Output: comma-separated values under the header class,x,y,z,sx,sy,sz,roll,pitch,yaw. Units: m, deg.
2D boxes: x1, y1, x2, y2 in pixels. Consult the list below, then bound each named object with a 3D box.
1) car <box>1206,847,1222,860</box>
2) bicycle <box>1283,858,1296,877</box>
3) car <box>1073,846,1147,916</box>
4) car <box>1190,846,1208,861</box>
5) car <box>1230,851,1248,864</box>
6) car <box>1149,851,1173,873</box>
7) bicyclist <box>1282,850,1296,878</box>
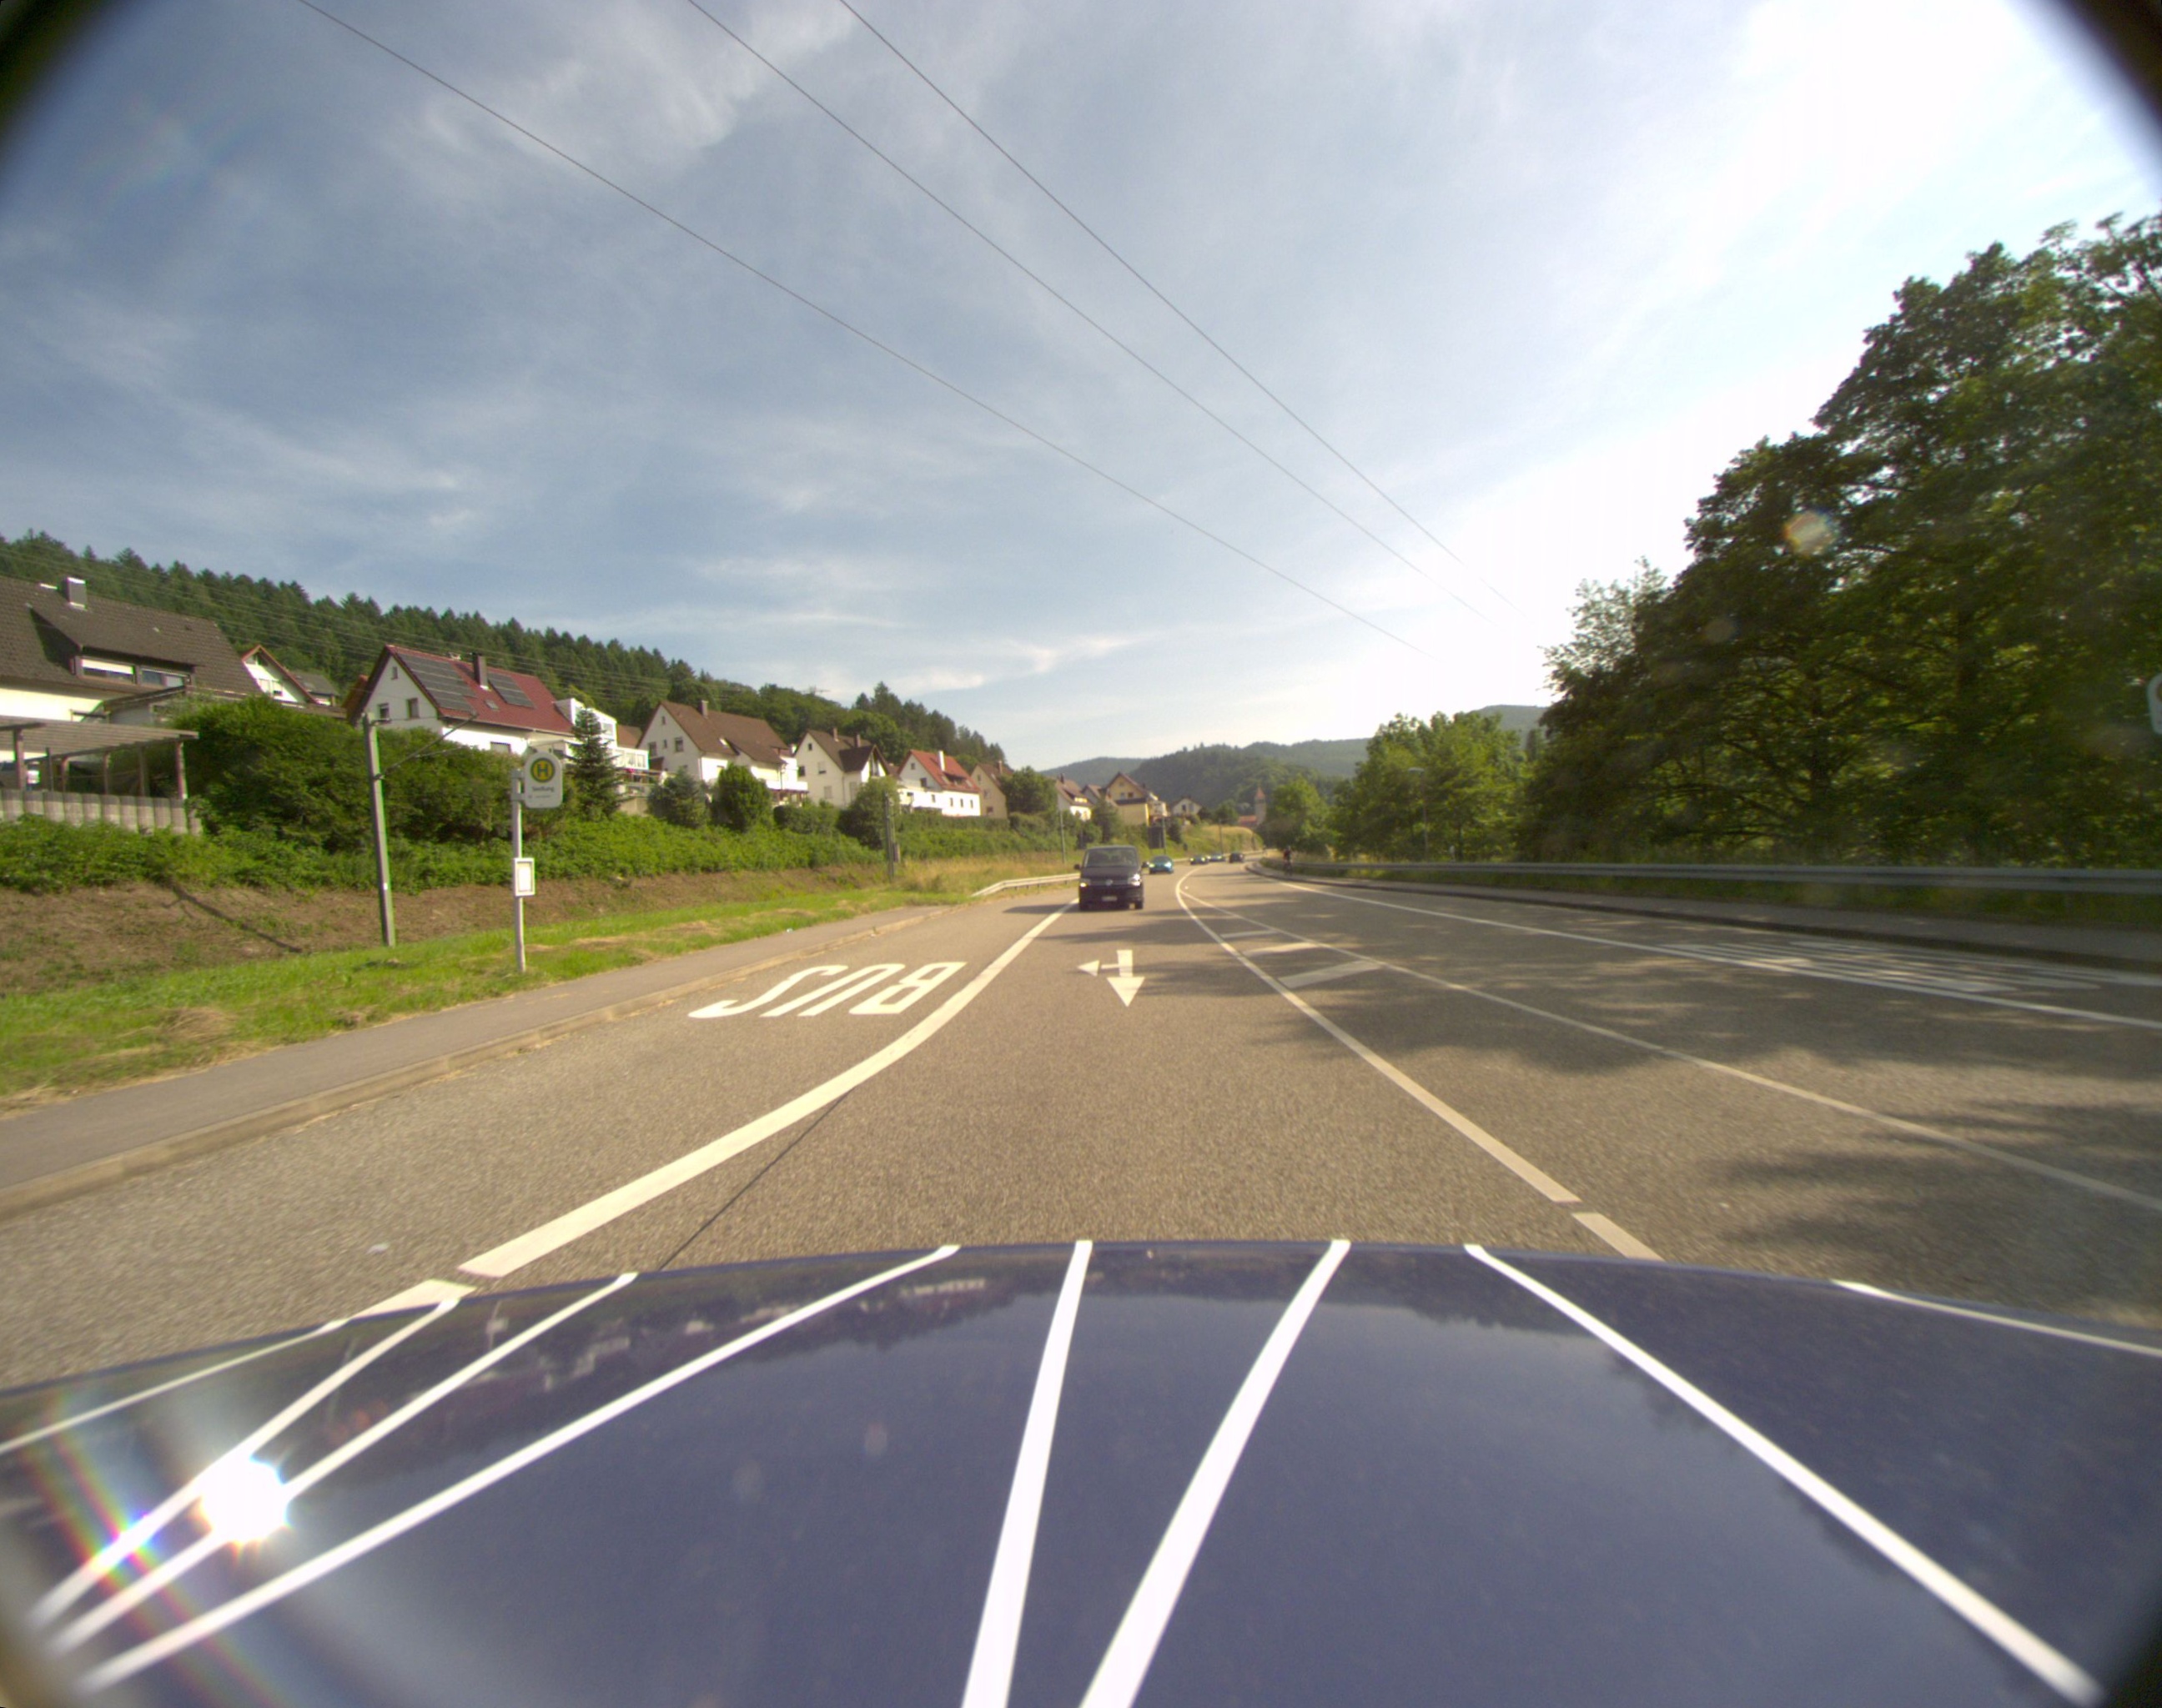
class,x,y,z,sx,sy,sz,roll,pitch,yaw
car,19.045,-0.135,108.573,1.883,1.735,4.183,-2,0,15
bicycle,12.196,0.768,44.493,0.558,1.039,2.231,-7,-1,12
car,1.003,0.772,23.747,2.017,1.905,4.314,-2,0,5
car,14.764,-0.033,95.032,1.883,1.735,4.182,-3,0,12
car,20.375,0.385,98.108,1.893,1.480,4.004,-3,1,16
car,6.564,0.655,62.854,1.884,1.735,4.180,-1,0,5
bicyclist,12.149,0.559,44.416,0.558,1.577,1.036,-6,-1,12
